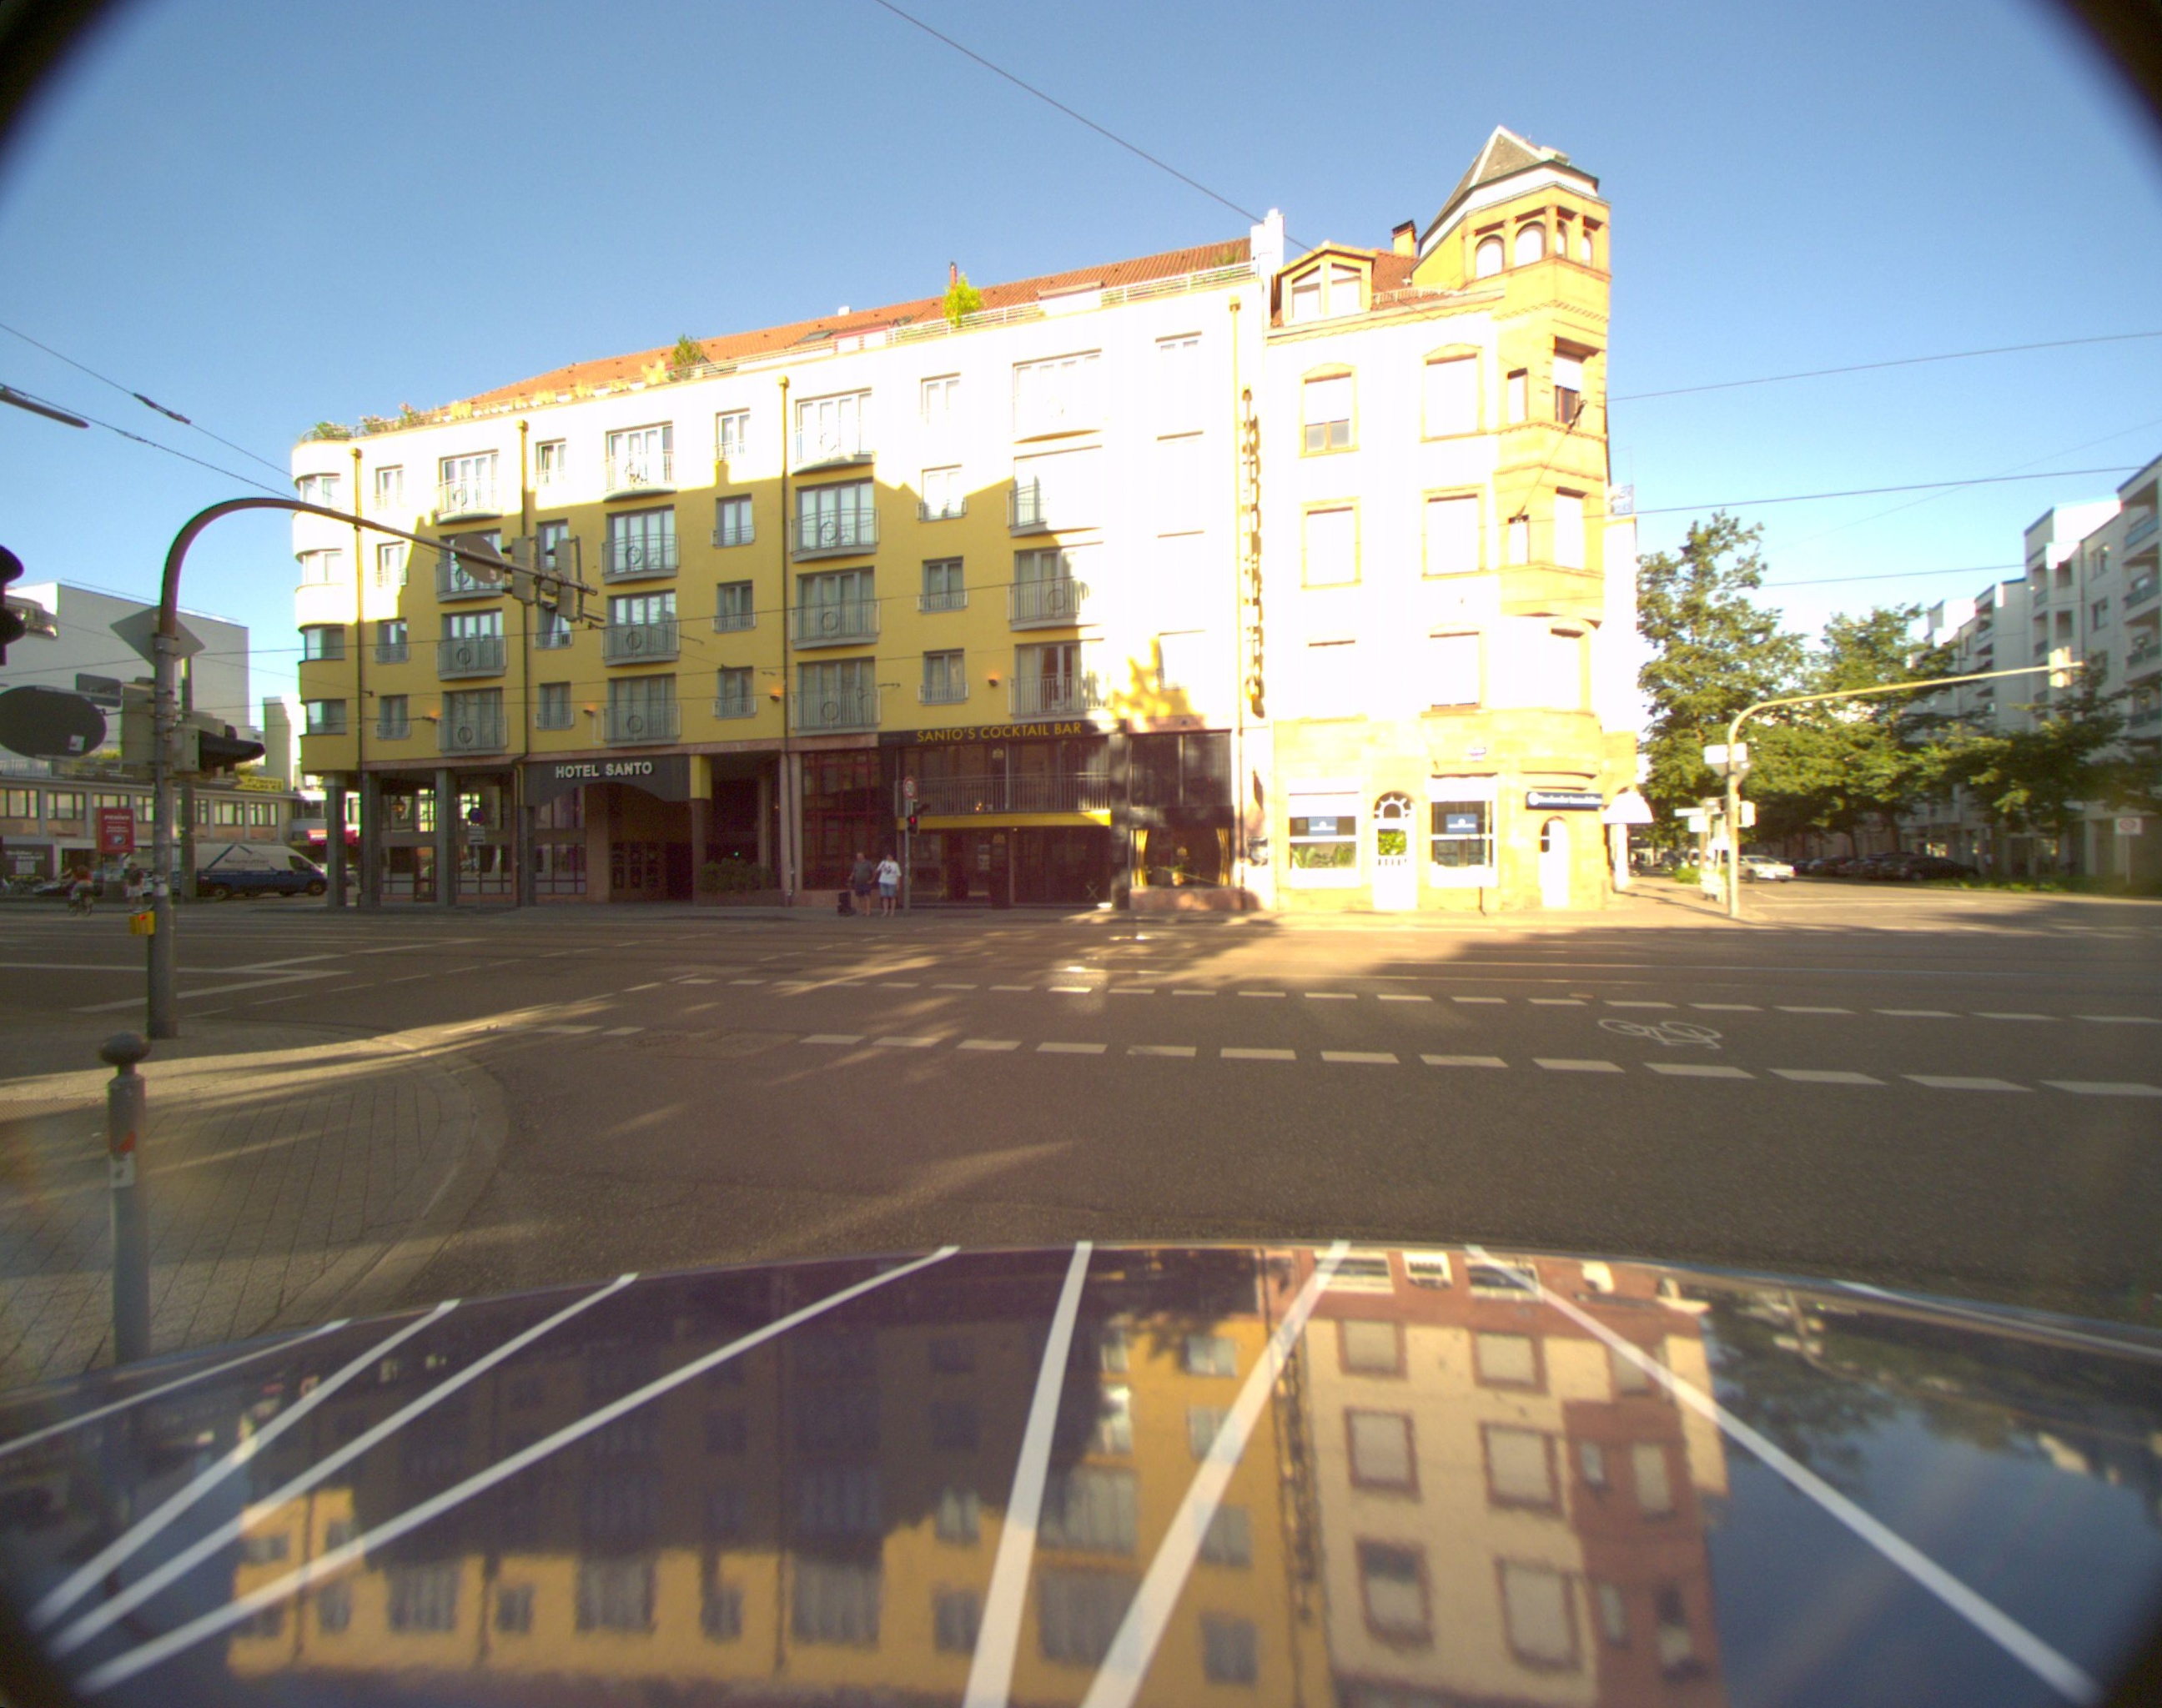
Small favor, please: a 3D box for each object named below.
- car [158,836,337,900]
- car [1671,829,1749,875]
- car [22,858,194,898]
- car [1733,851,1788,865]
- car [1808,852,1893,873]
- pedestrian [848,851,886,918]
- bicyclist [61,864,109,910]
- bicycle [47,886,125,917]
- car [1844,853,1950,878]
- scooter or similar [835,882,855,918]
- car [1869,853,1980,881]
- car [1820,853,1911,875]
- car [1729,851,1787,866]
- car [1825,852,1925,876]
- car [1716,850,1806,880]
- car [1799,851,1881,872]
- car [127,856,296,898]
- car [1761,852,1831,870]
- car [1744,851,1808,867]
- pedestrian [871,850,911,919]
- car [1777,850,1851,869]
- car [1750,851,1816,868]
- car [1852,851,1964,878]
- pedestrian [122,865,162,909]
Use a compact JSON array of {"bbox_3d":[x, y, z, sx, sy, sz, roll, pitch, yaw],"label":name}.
[{"bbox_3d":[-38.341,0.601,35.187,2.055,2.742,5.155,-1,0,15],"label":"car"},{"bbox_3d":[46.675,-0.150,56.645,3.317,3.160,8.099,0,0,31],"label":"car"},{"bbox_3d":[-48.336,1.152,37.927,2.055,1.826,4.825,-1,0,15],"label":"car"},{"bbox_3d":[75.466,0.467,84.480,4.293,1.575,2.004,-1,0,30],"label":"car"},{"bbox_3d":[59.761,0.671,59.104,4.293,1.575,2.004,-1,0,30],"label":"car"},{"bbox_3d":[-6.033,0.842,21.479,0.678,1.831,0.727,-1,4,13],"label":"pedestrian"},{"bbox_3d":[-33.434,1.095,25.515,0.755,1.511,0.679,-1,0,7],"label":"bicyclist"},{"bbox_3d":[-33.416,1.587,25.522,1.960,0.998,0.679,-1,0,6],"label":"bicycle"},{"bbox_3d":[52.960,0.756,49.435,4.293,1.575,2.004,-1,0,28],"label":"car"},{"bbox_3d":[-6.623,1.287,21.334,0.356,0.972,0.423,-1,4,12],"label":"scooter or similar"},{"bbox_3d":[50.009,0.764,45.161,3.989,1.575,2.004,-1,0,28],"label":"car"},{"bbox_3d":[58.021,0.757,56.308,4.293,1.575,2.004,-1,0,30],"label":"car"},{"bbox_3d":[71.901,0.455,80.811,4.293,1.575,2.004,-1,0,30],"label":"car"},{"bbox_3d":[53.900,0.697,51.695,4.293,1.575,2.004,-1,0,28],"label":"car"},{"bbox_3d":[41.082,0.638,46.042,1.998,1.739,4.001,-1,0,4],"label":"car"},{"bbox_3d":[60.987,0.608,61.187,4.293,1.575,2.004,-1,0,30],"label":"car"},{"bbox_3d":[-40.882,1.025,35.928,2.055,1.826,4.825,-1,0,15],"label":"car"},{"bbox_3d":[64.984,0.628,69.179,4.293,1.575,2.004,-1,0,30],"label":"car"},{"bbox_3d":[68.178,0.508,74.590,4.293,1.575,2.004,-1,0,30],"label":"car"},{"bbox_3d":[-5.252,0.829,21.051,0.734,1.831,0.727,-1,4,13],"label":"pedestrian"},{"bbox_3d":[63.177,0.484,65.579,4.293,1.575,2.004,-1,0,30],"label":"car"},{"bbox_3d":[66.637,0.562,72.194,4.293,1.575,2.004,-1,0,30],"label":"car"},{"bbox_3d":[51.409,0.655,47.351,4.293,1.575,2.004,-1,0,28],"label":"car"},{"bbox_3d":[-36.772,1.288,29.751,0.688,1.685,0.726,0,0,11],"label":"pedestrian"}]
